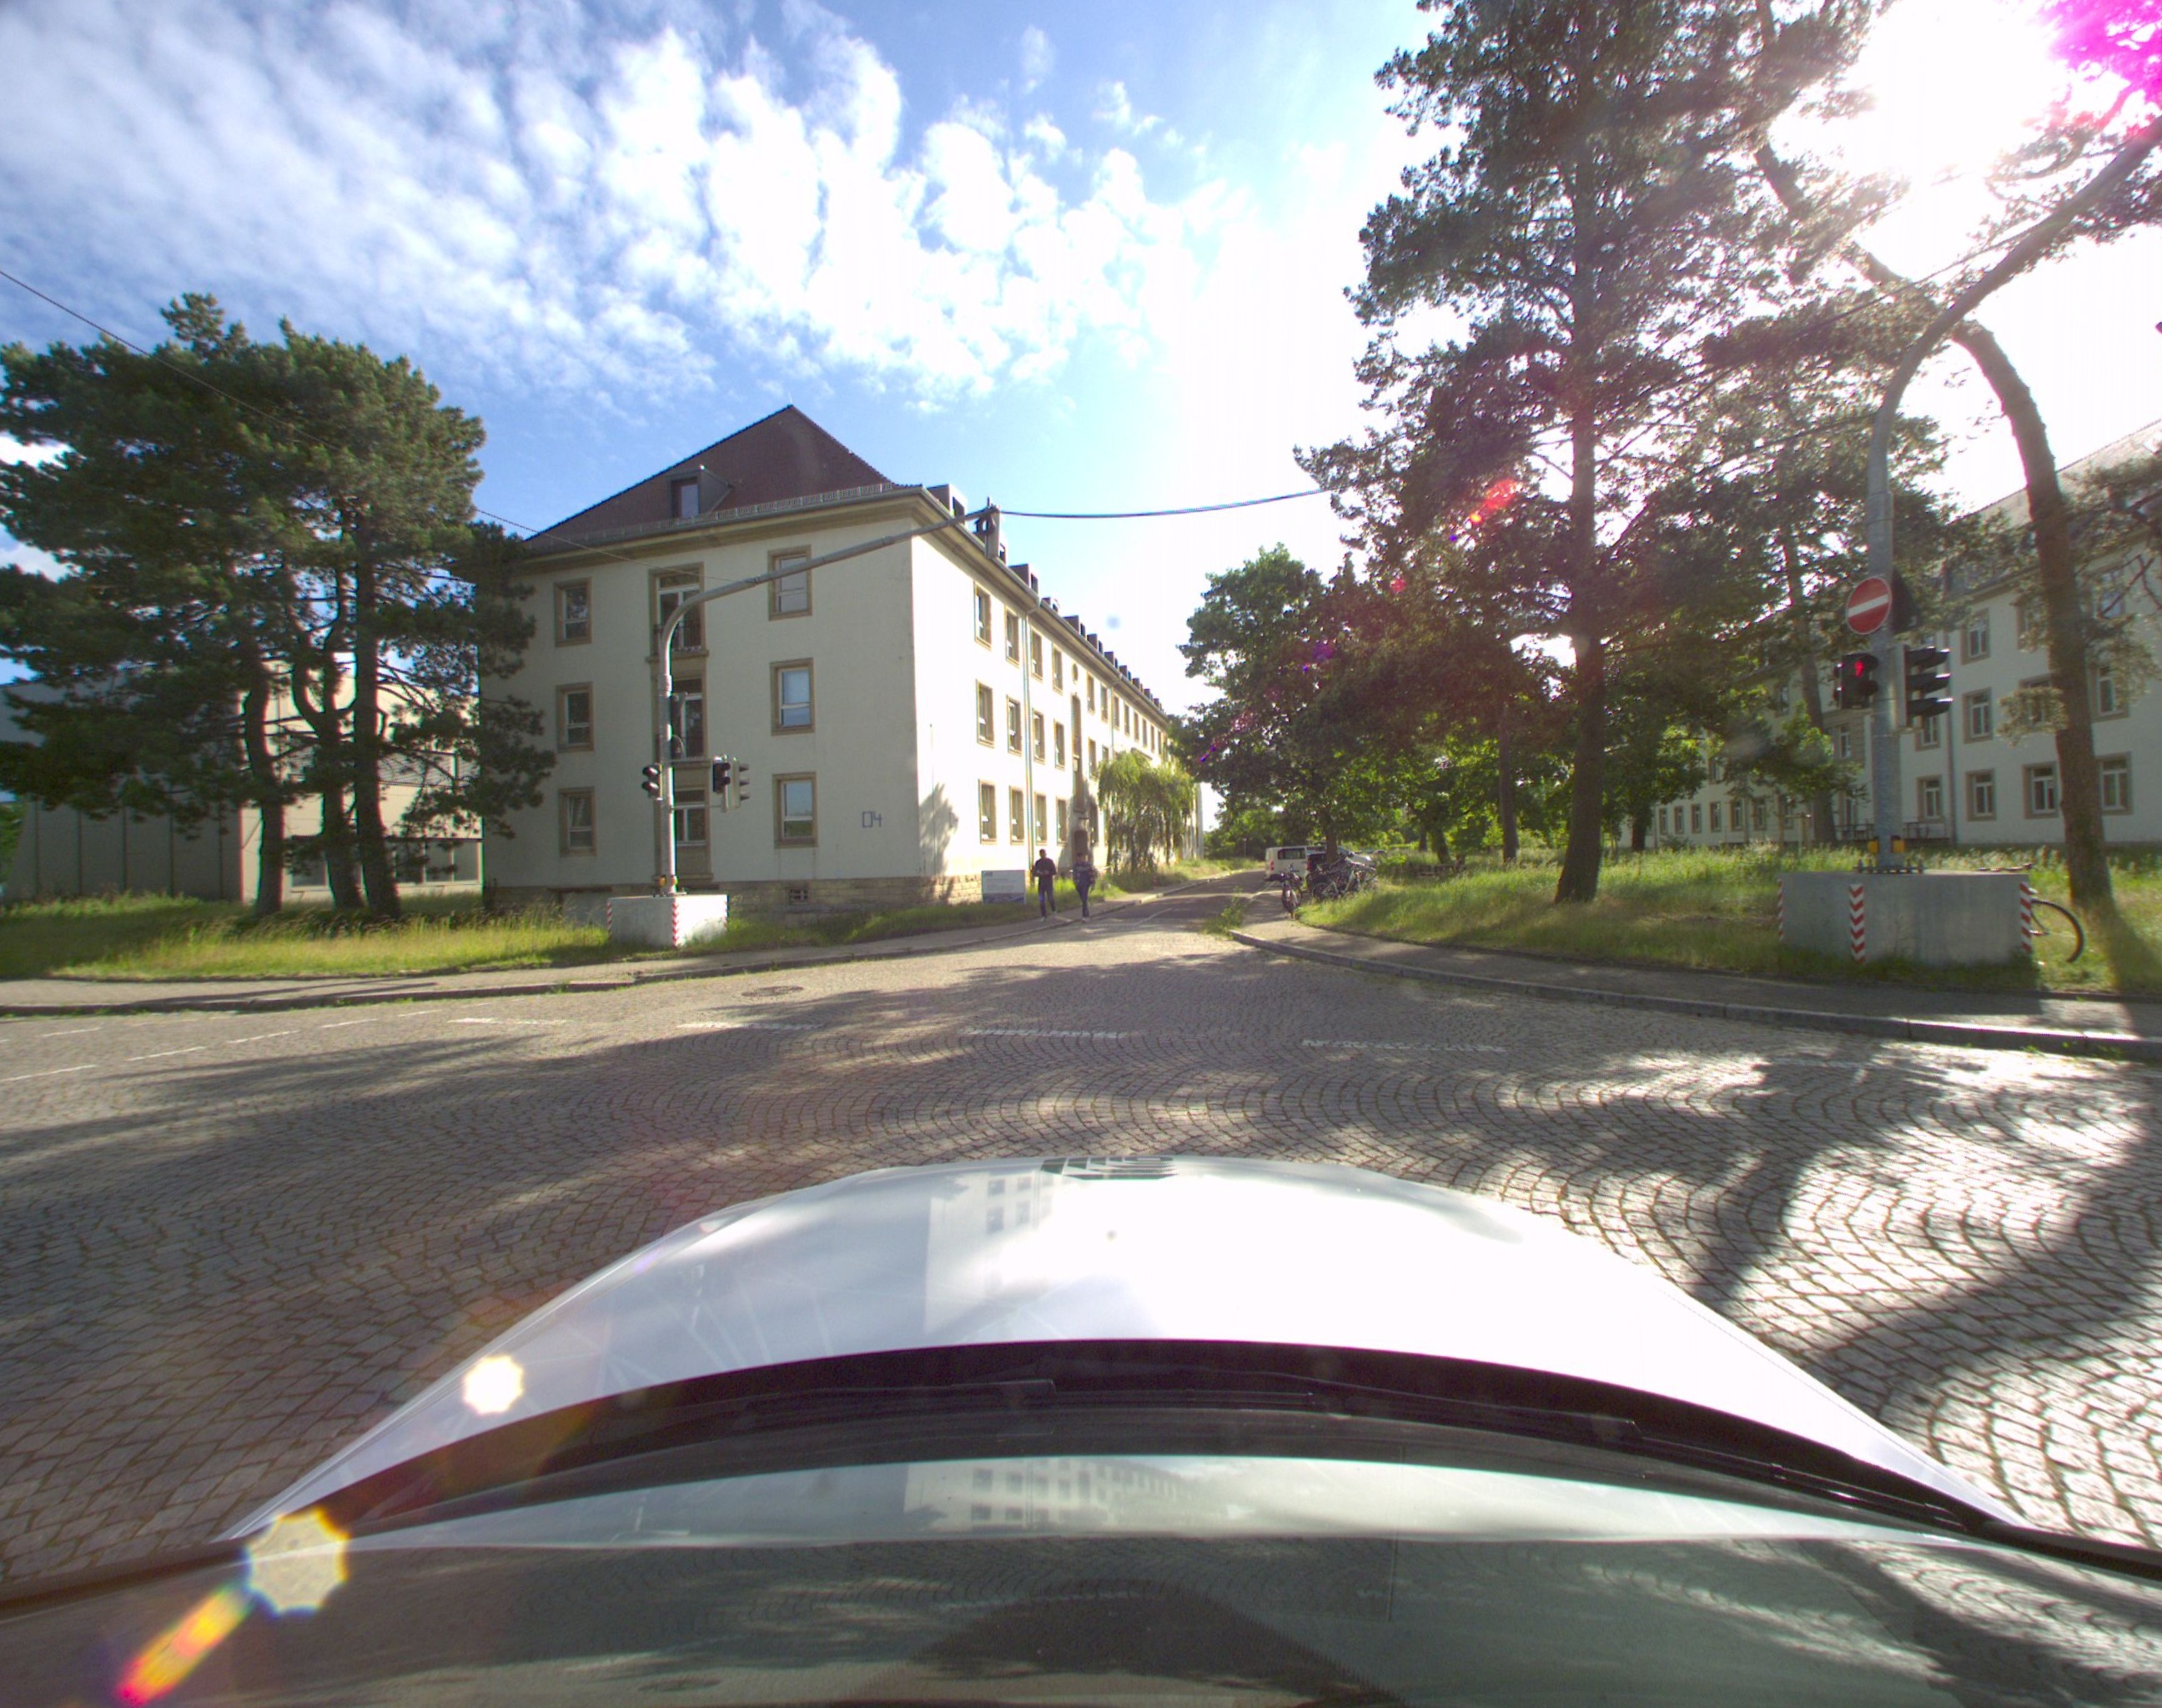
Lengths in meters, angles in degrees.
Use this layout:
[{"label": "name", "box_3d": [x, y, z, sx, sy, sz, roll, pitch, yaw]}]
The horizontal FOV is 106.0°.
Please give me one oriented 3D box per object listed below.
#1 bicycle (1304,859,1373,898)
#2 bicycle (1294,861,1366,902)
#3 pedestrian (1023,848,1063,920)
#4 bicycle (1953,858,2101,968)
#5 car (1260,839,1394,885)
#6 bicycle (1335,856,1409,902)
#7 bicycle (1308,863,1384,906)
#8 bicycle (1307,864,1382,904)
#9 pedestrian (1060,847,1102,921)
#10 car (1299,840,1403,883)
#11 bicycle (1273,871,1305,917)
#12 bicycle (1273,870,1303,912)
[{"label": "bicycle", "box_3d": [7.885, 0.757, 25.035, 1.929, 1.129, 0.649, -2, 0, 10]}, {"label": "bicycle", "box_3d": [7.351, 0.811, 24.028, 1.942, 1.129, 0.645, -2, 0, -12]}, {"label": "pedestrian", "box_3d": [-0.980, 0.765, 20.832, 0.804, 1.817, 0.558, -2, 0, 26]}, {"label": "bicycle", "box_3d": [9.936, 0.587, 8.606, 0.462, 1.080, 1.179, -2, -1, 19]}, {"label": "car", "box_3d": [11.801, 0.385, 39.552, 5.896, 2.013, 2.481, -2, 0, 8]}, {"label": "bicycle", "box_3d": [8.281, 0.716, 23.243, 1.927, 1.235, 0.487, -2, -1, 12]}, {"label": "bicycle", "box_3d": [7.387, 0.850, 22.766, 1.927, 1.129, 0.752, -2, 0, 12]}, {"label": "bicycle", "box_3d": [7.098, 0.812, 22.011, 1.842, 1.031, 0.752, -2, 0, 12]}, {"label": "pedestrian", "box_3d": [0.003, 0.754, 20.467, 0.760, 1.817, 0.686, -2, 0, 26]}, {"label": "car", "box_3d": [11.554, 0.313, 35.109, 3.965, 1.684, 1.851, -2, 0, 7]}, {"label": "bicycle", "box_3d": [4.842, 0.914, 19.007, 0.690, 0.971, 1.867, -1, 0, 14]}, {"label": "bicycle", "box_3d": [5.308, 0.927, 20.902, 0.690, 0.971, 1.867, -1, 0, 14]}]
